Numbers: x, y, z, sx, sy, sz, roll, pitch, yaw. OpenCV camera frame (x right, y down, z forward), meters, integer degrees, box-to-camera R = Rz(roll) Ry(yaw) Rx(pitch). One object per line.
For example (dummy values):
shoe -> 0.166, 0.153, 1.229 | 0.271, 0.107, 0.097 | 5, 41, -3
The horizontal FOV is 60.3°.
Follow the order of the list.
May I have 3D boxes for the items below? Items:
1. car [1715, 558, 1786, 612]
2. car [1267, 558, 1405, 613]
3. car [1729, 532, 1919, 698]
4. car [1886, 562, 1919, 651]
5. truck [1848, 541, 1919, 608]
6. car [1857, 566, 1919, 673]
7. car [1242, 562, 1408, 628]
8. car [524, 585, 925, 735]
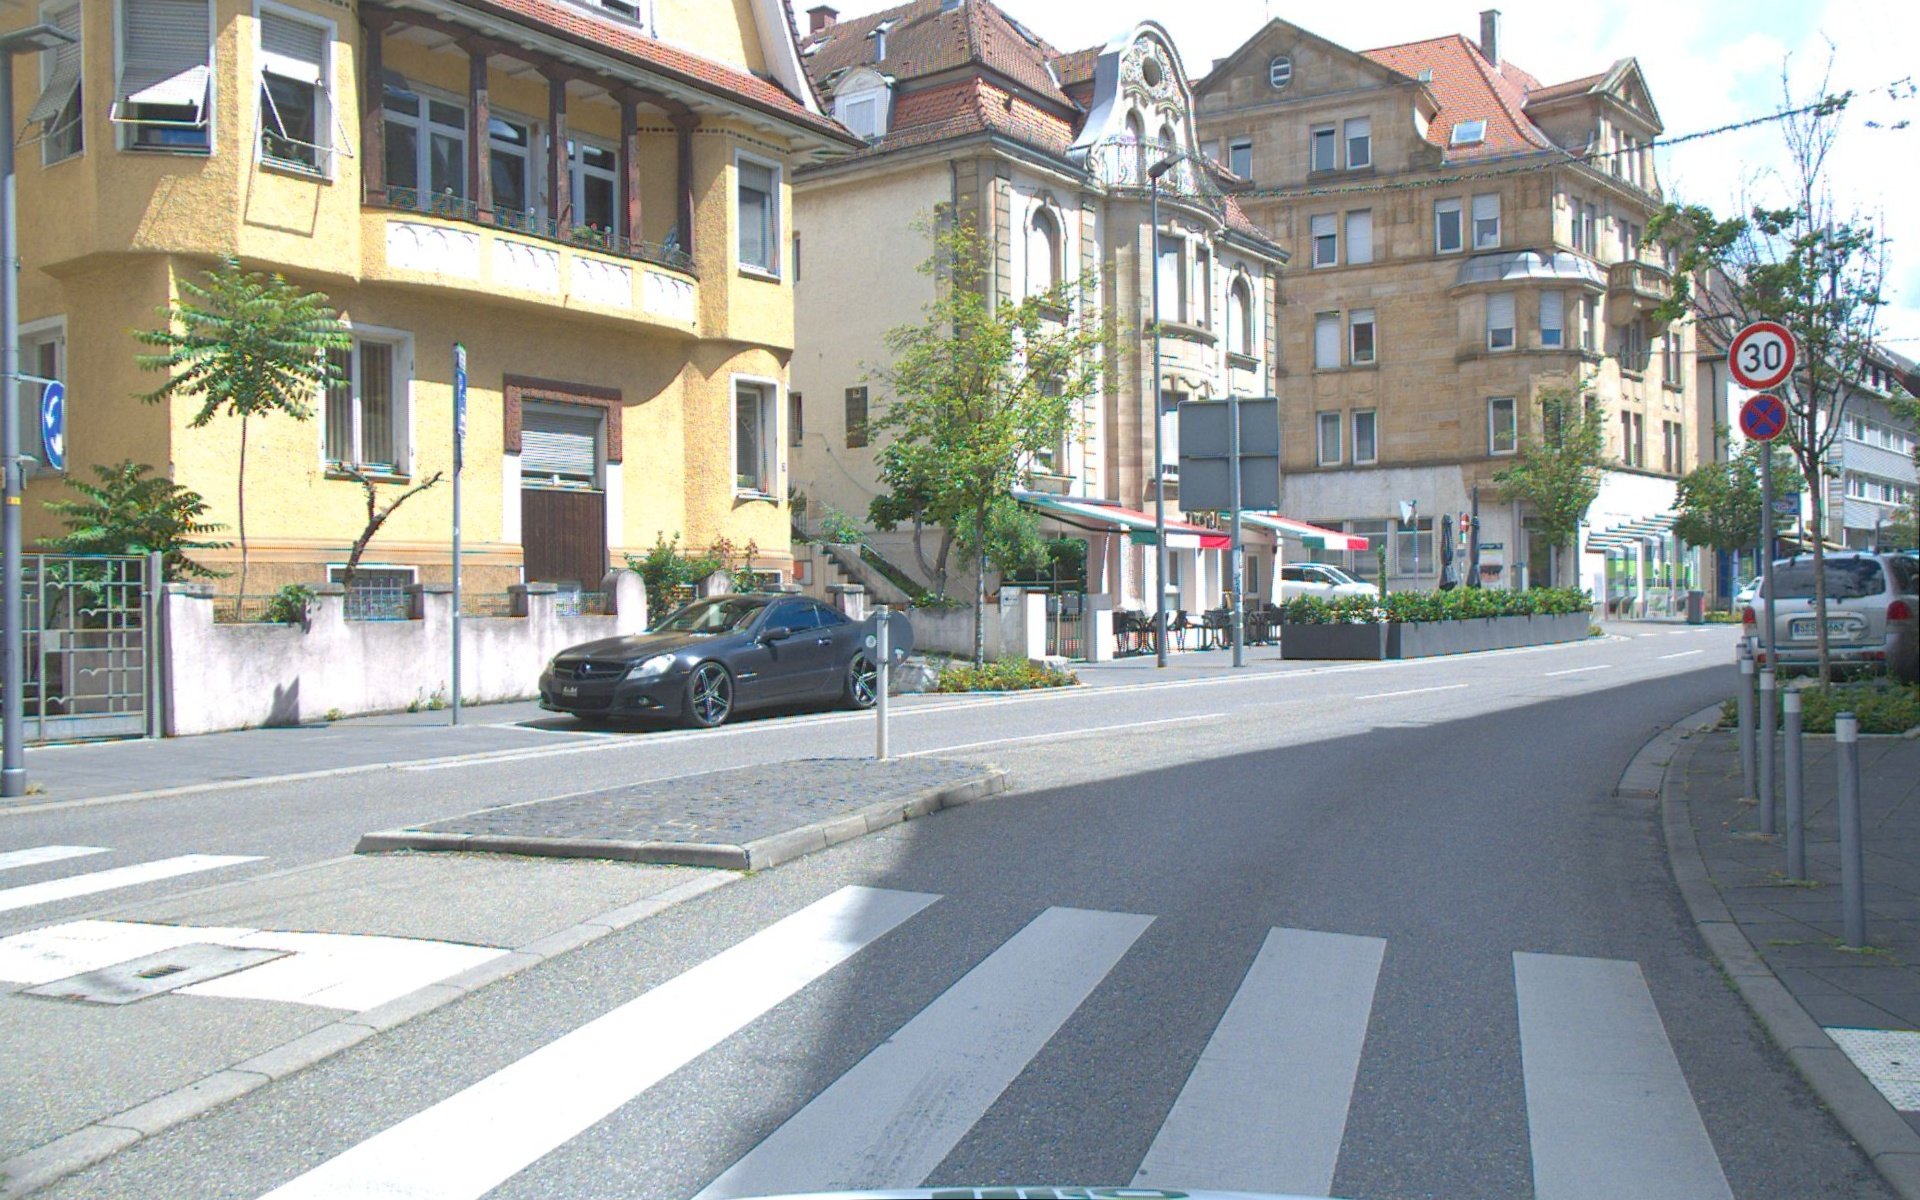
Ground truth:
car -> 26.707, -0.527, 55.814 | 1.679, 1.742, 3.989 | 0, 1, 33
car -> 11.959, -0.450, 52.639 | 3.915, 1.691, 1.904 | 0, 1, 32
car -> 10.751, 0.150, 19.751 | 1.796, 1.761, 4.211 | -2, 0, 40
car -> 18.361, 0.069, 30.174 | 1.796, 1.546, 4.211 | -2, 0, 40
truck -> 32.867, -0.914, 58.137 | 2.033, 2.203, 5.270 | -1, 1, 38
car -> 14.556, 0.231, 24.544 | 1.594, 1.459, 4.222 | -1, 1, 37
car -> 10.379, -0.148, 46.976 | 4.328, 1.806, 2.000 | 0, 1, 22
car -> -2.373, 0.537, 17.712 | 1.681, 1.266, 4.395 | 3, 3, 36
